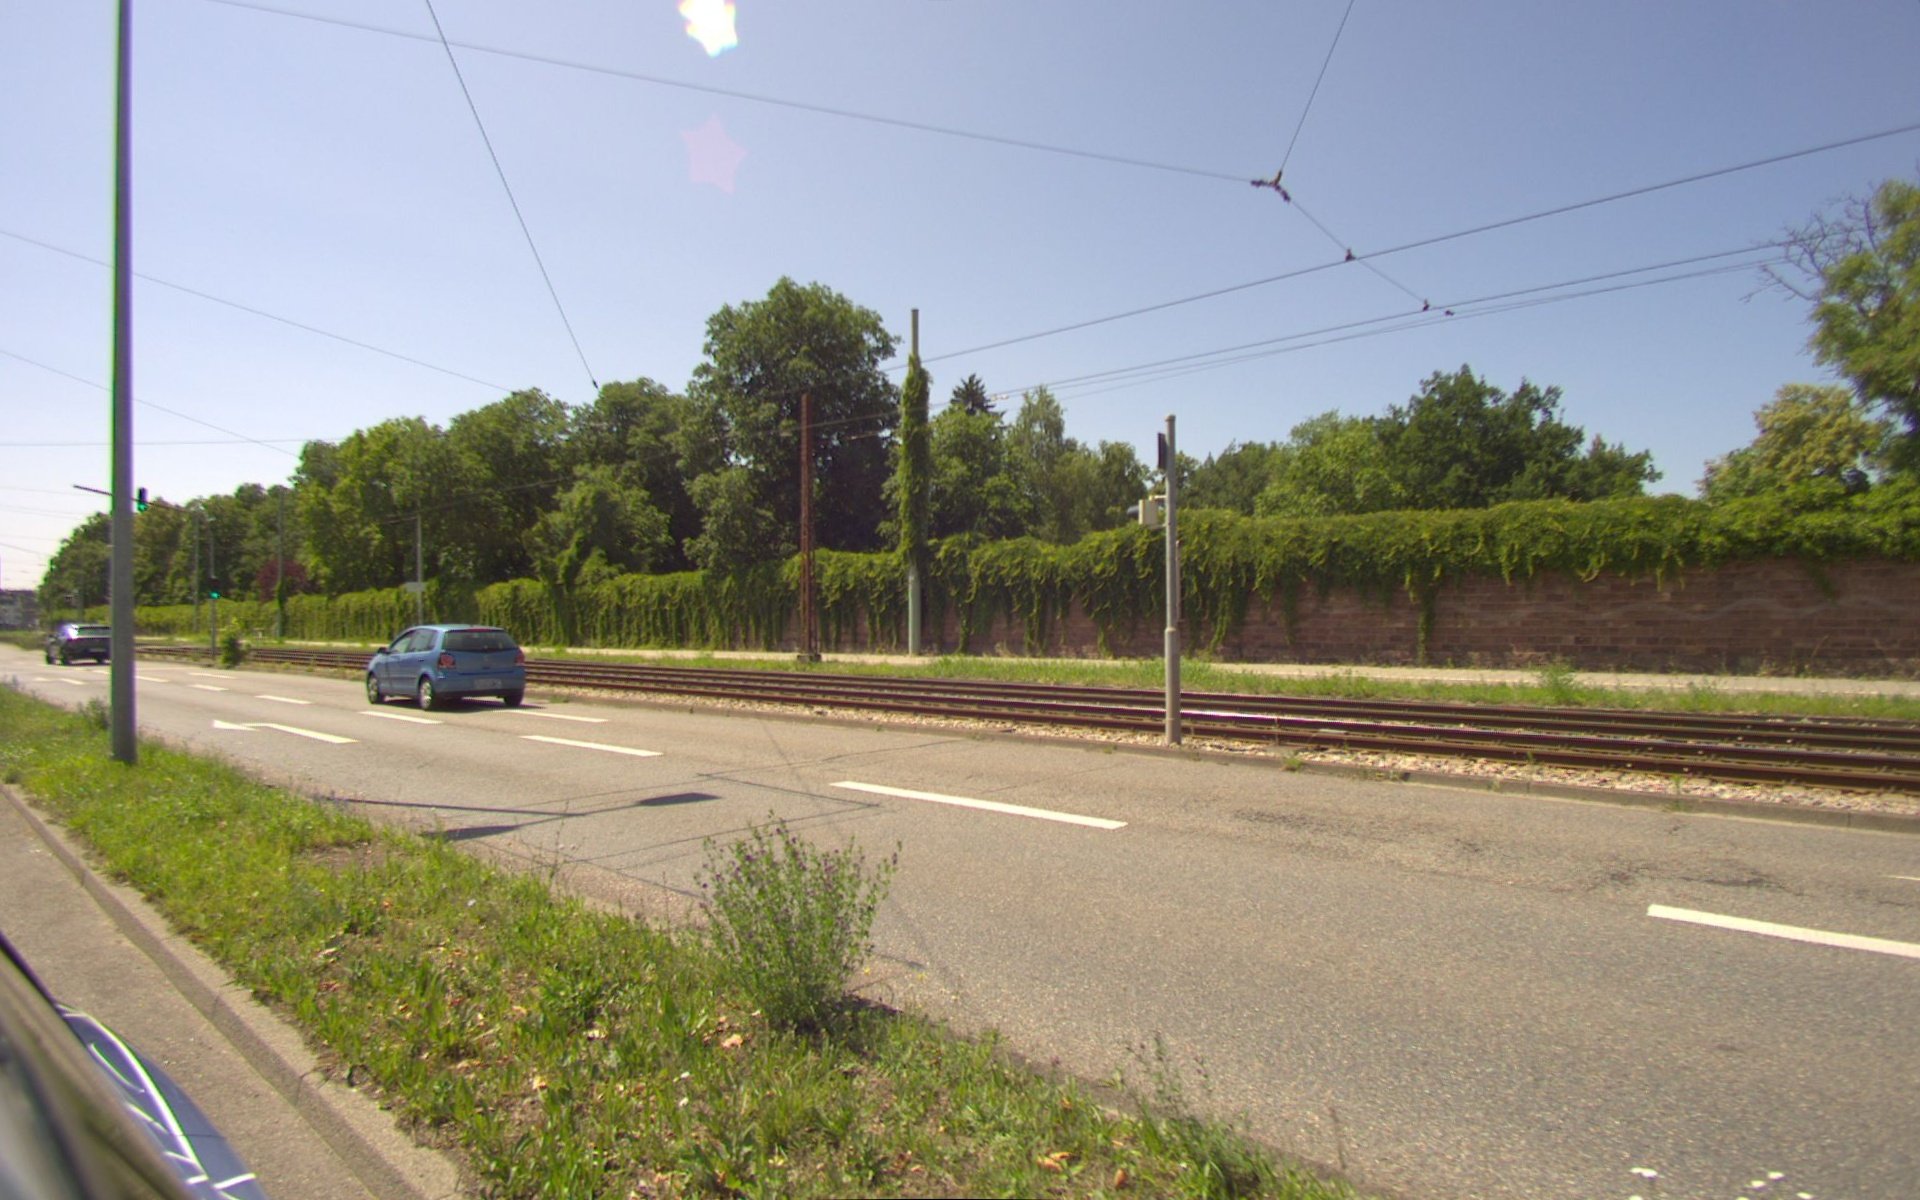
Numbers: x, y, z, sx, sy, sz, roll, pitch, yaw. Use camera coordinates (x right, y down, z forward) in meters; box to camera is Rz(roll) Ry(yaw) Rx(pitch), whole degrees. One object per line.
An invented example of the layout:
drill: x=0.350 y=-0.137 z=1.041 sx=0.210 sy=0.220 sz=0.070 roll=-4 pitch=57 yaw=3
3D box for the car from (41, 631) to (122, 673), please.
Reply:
car: x=-33.883 y=1.971 z=38.996 sx=4.093 sy=1.532 sz=1.743 roll=-2 pitch=-2 yaw=40

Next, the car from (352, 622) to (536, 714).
car: x=-9.346 y=1.163 z=18.228 sx=3.788 sy=1.482 sz=1.677 roll=-2 pitch=-2 yaw=41
